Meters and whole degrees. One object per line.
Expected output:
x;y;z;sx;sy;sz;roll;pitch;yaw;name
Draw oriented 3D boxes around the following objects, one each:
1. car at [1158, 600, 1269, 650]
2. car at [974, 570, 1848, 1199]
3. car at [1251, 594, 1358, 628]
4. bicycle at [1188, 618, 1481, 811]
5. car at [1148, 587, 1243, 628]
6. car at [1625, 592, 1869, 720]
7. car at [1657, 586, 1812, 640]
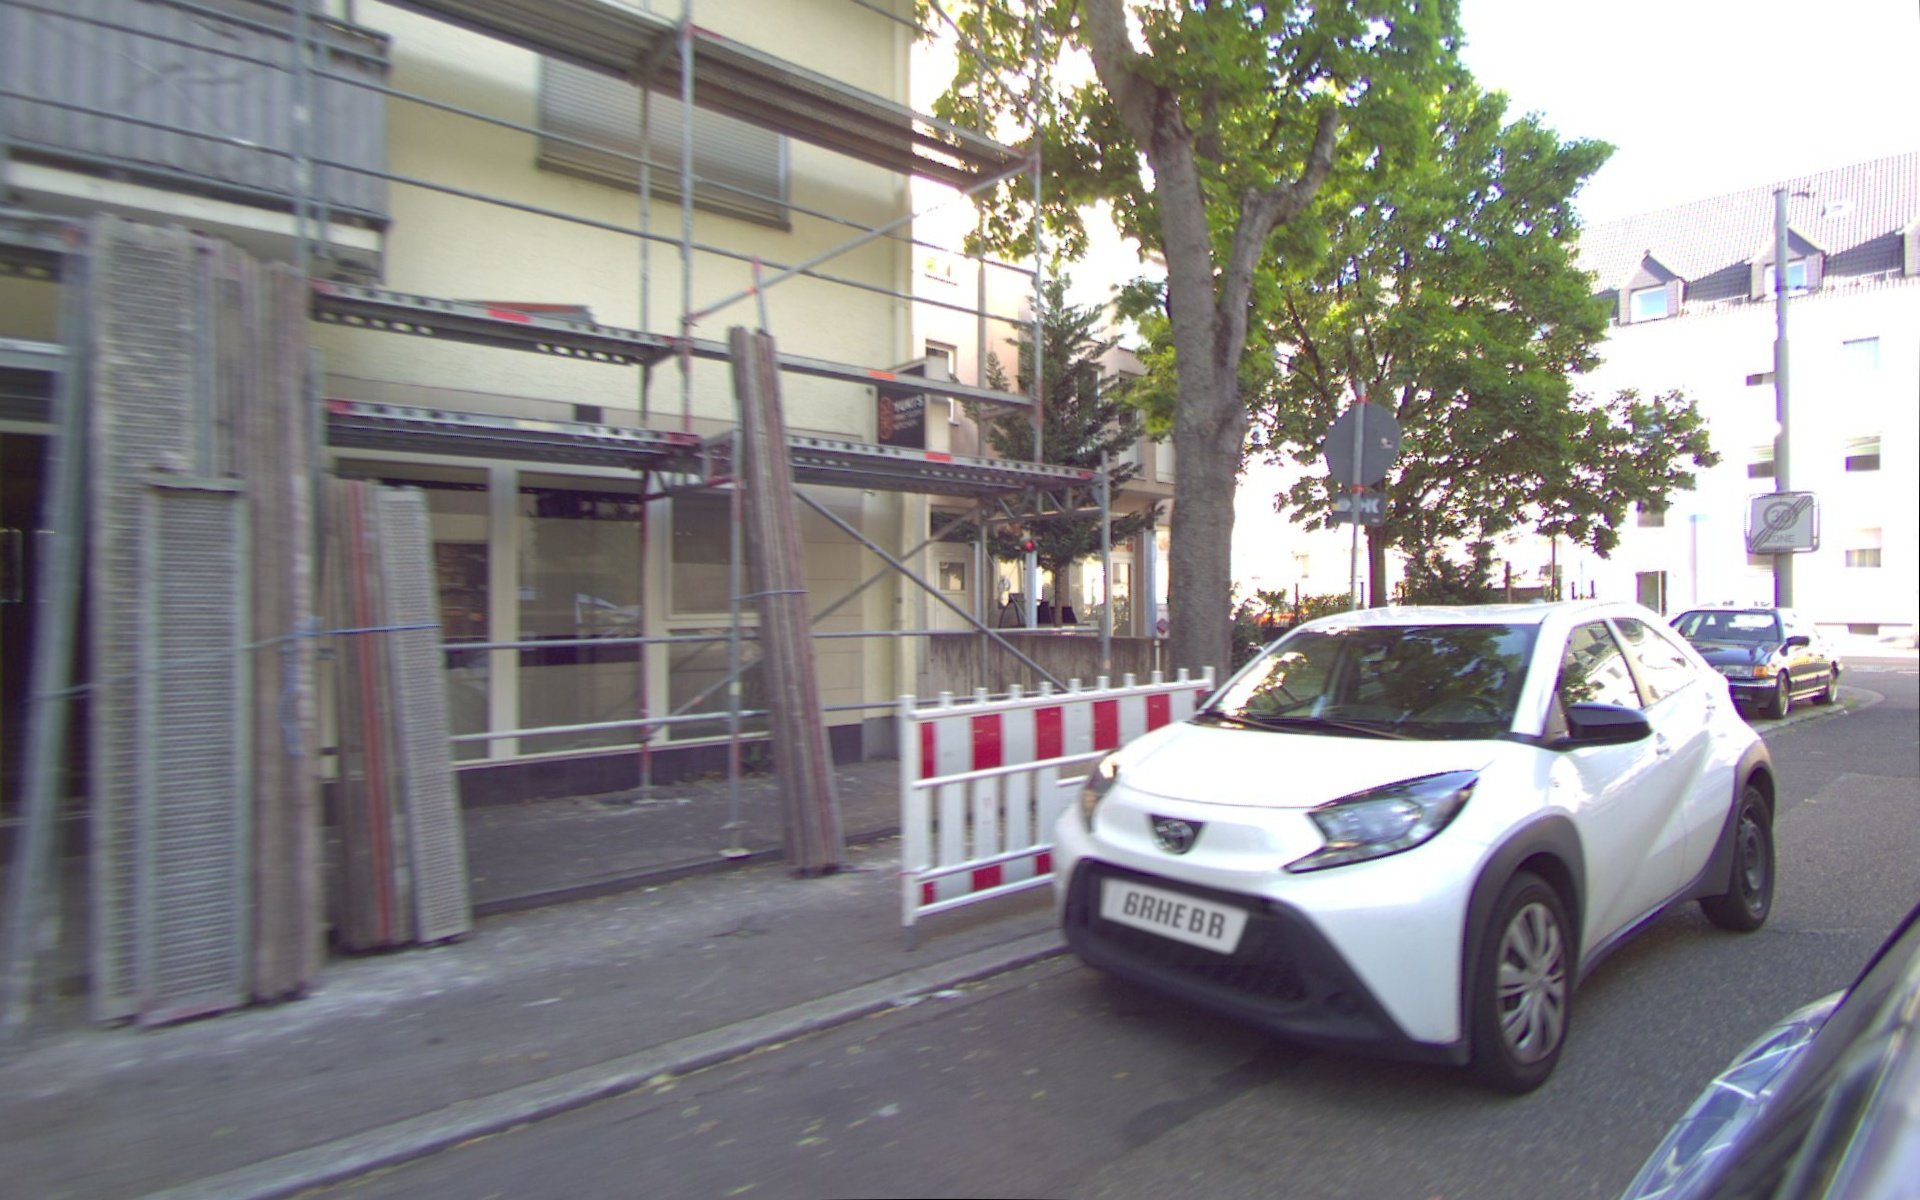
7.364;0.710;29.486;2.868;1.373;1.244;-1;1;41;car
2.153;0.704;4.417;3.891;1.555;1.807;-1;-1;-37;car
14.406;0.445;42.465;1.525;1.369;3.989;0;0;-44;car
2.849;0.801;7.826;1.962;1.169;0.741;4;3;38;bicycle
10.787;0.333;46.469;1.666;1.804;3.989;0;-1;-44;car
11.021;0.651;14.062;4.426;1.425;1.666;-1;3;-39;car
24.407;0.414;31.961;3.695;1.627;1.623;-2;-1;45;car
